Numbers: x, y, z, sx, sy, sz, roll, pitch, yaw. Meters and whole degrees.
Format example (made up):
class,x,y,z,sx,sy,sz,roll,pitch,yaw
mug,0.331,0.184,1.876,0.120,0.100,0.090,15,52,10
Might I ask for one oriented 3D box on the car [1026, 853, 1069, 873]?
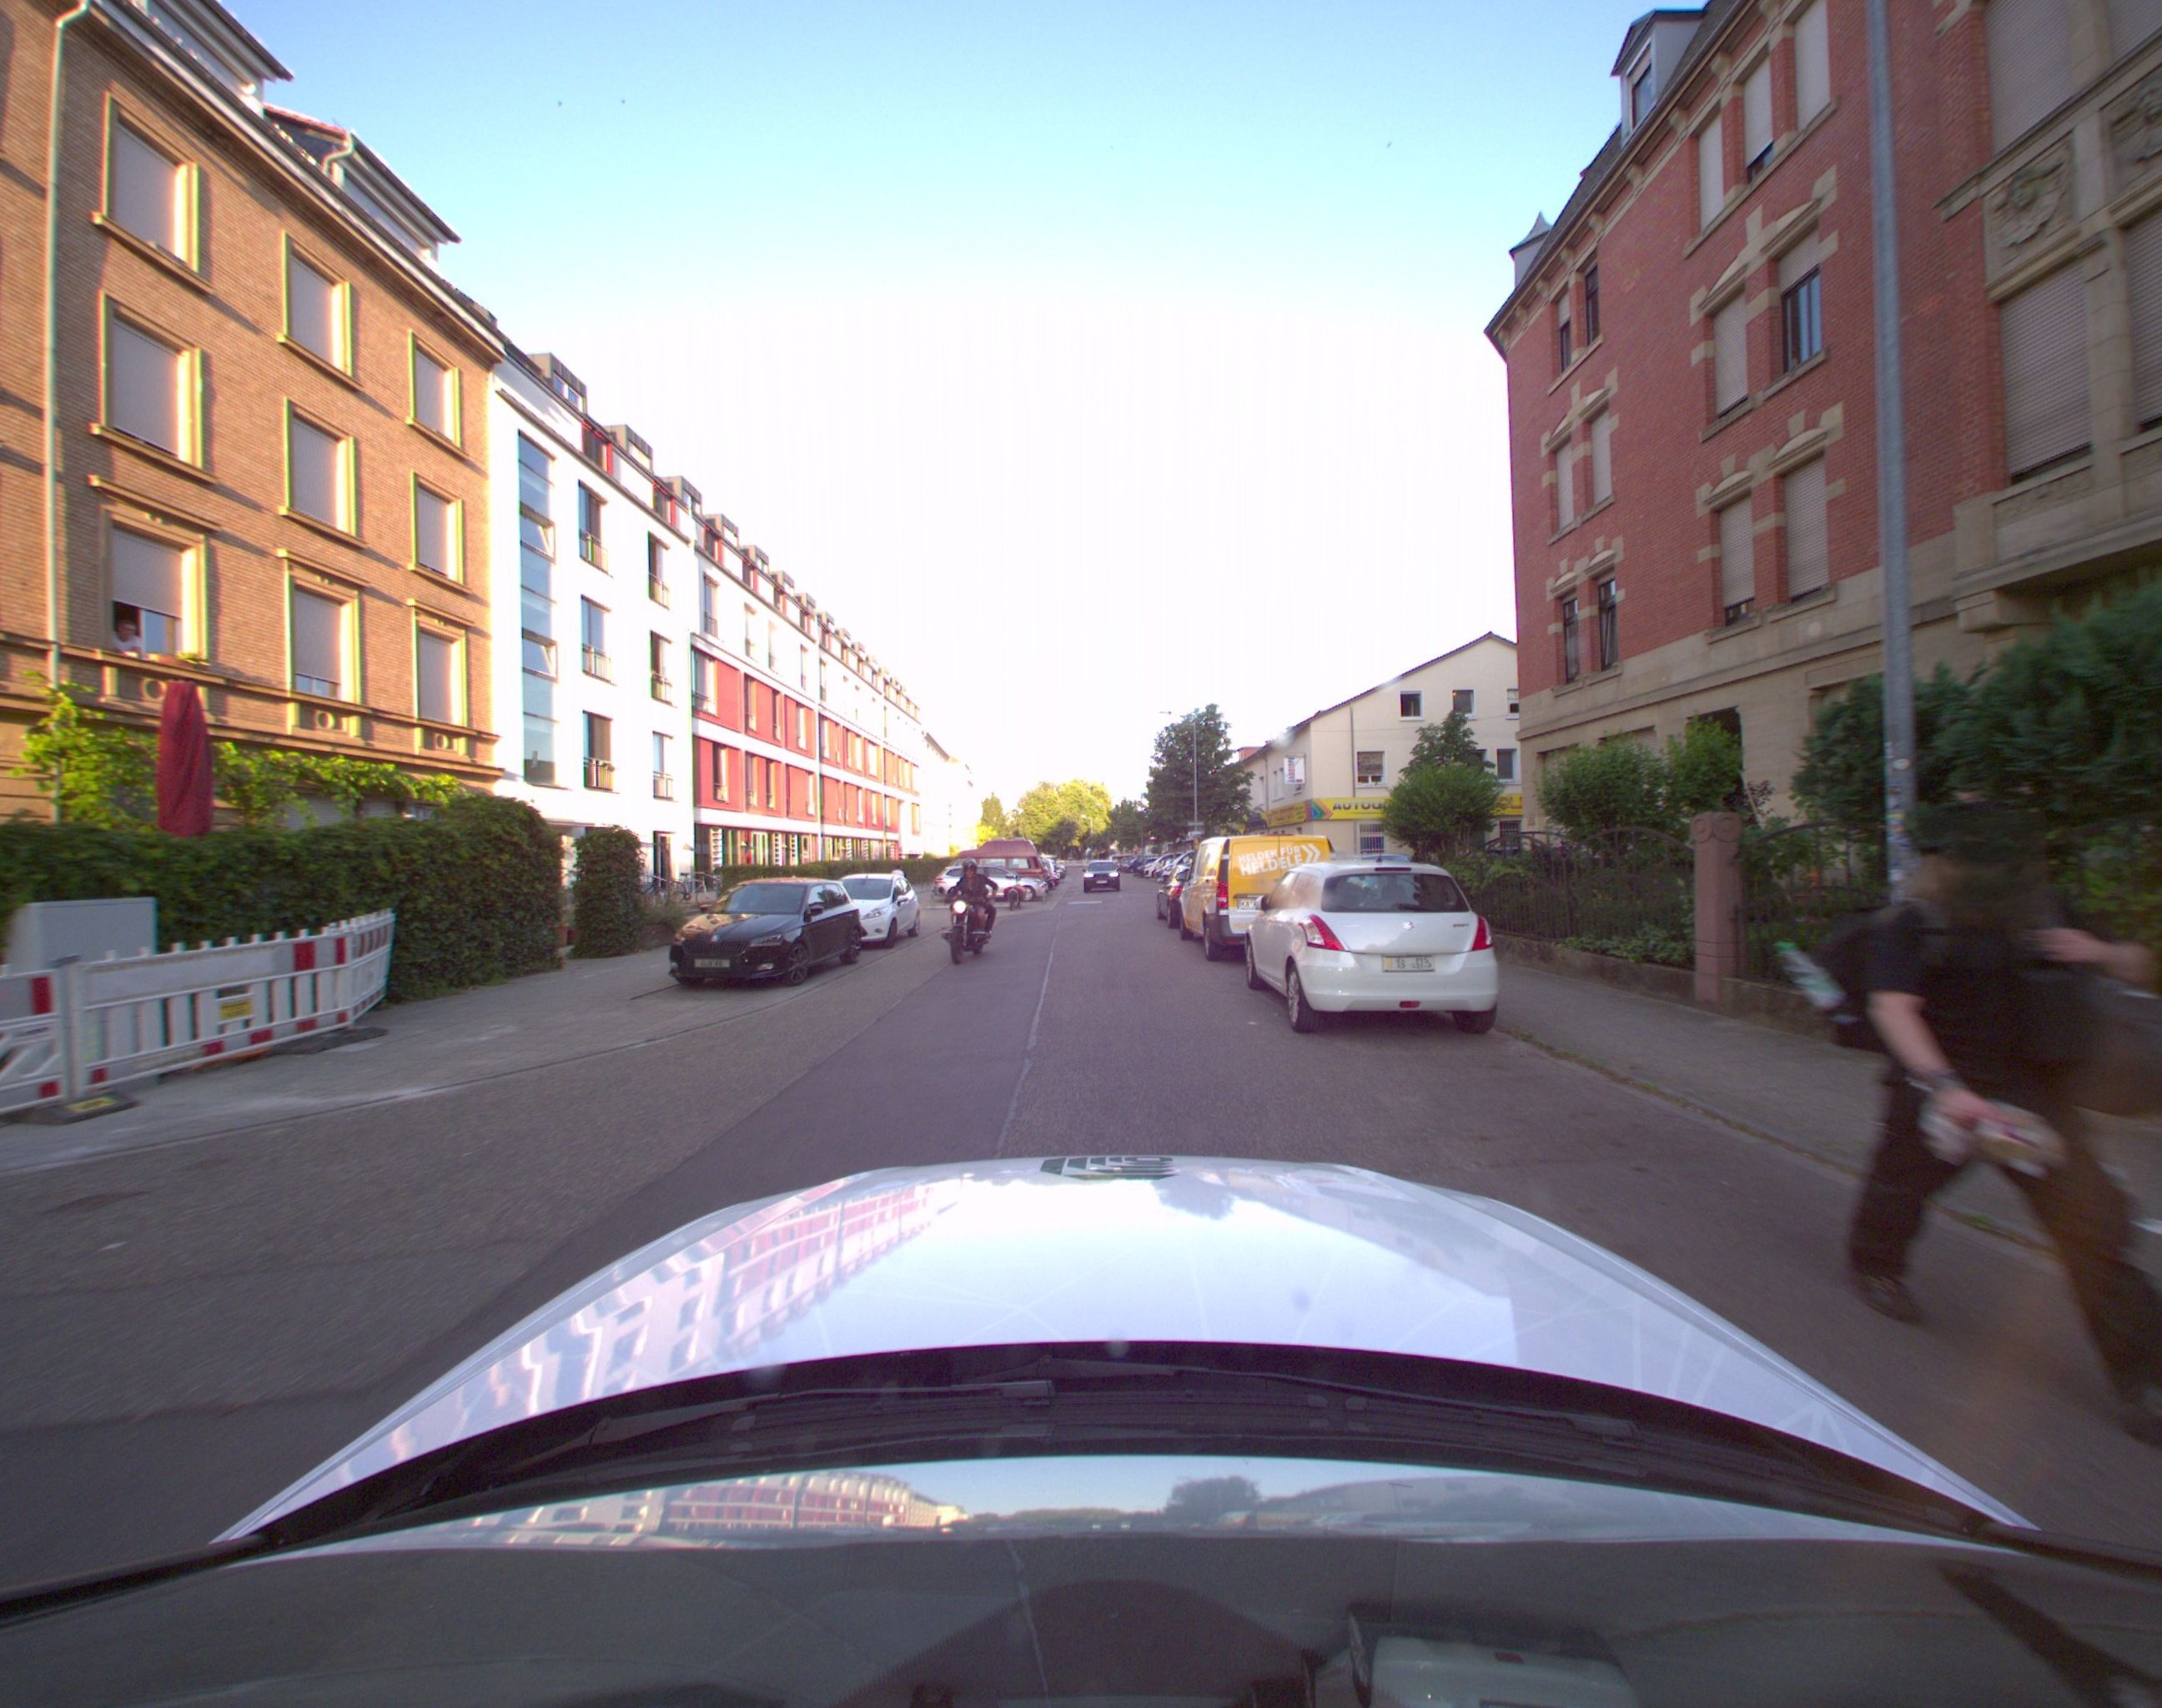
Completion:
class,x,y,z,sx,sy,sz,roll,pitch,yaw
car,-3.593,0.983,88.608,4.518,2.134,2.000,0,-1,0

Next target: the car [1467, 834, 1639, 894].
class,x,y,z,sx,sy,sz,roll,pitch,yaw
car,14.826,0.330,25.720,4.306,1.672,1.877,-2,-2,-2

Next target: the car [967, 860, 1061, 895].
class,x,y,z,sx,sy,sz,roll,pitch,yaw
car,-3.029,1.079,37.679,4.197,1.538,1.790,0,-1,-1

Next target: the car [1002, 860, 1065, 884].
class,x,y,z,sx,sy,sz,roll,pitch,yaw
car,-3.314,1.233,57.539,4.242,1.652,1.888,0,-1,0

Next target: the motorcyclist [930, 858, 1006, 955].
class,x,y,z,sx,sy,sz,roll,pitch,yaw
motorcyclist,-1.871,0.851,13.613,0.884,1.505,0.972,-5,-1,10

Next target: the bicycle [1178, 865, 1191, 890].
class,x,y,z,sx,sy,sz,roll,pitch,yaw
bicycle,5.264,1.201,41.647,0.384,1.200,2.018,-3,0,1

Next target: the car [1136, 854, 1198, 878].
class,x,y,z,sx,sy,sz,roll,pitch,yaw
car,7.185,0.988,68.690,4.930,1.689,2.076,-4,-1,-1

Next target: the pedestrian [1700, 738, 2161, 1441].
class,x,y,z,sx,sy,sz,roll,pitch,yaw
pedestrian,2.677,0.578,2.481,0.884,1.722,0.961,0,-1,7

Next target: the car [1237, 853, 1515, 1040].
class,x,y,z,sx,sy,sz,roll,pitch,yaw
car,2.732,0.759,8.470,1.667,1.477,3.865,-1,0,3

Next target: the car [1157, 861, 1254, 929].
class,x,y,z,sx,sy,sz,roll,pitch,yaw
car,2.833,0.889,19.404,1.715,1.424,4.253,0,0,1

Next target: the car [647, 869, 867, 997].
class,x,y,z,sx,sy,sz,roll,pitch,yaw
car,-4.631,1.040,12.281,1.697,1.534,3.844,-1,0,1

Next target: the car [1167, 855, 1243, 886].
class,x,y,z,sx,sy,sz,roll,pitch,yaw
car,6.925,0.900,45.795,3.908,1.451,1.767,-4,0,-2

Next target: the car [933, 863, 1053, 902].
class,x,y,z,sx,sy,sz,roll,pitch,yaw
car,-3.443,1.117,32.535,4.605,1.460,1.879,0,-1,-3

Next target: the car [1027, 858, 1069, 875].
class,x,y,z,sx,sy,sz,roll,pitch,yaw
car,-3.481,1.297,85.966,4.242,1.749,2.000,0,-1,0

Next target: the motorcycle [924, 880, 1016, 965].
class,x,y,z,sx,sy,sz,roll,pitch,yaw
motorcycle,-1.828,1.112,13.775,0.841,1.209,2.080,-5,-1,10

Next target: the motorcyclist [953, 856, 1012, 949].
class,x,y,z,sx,sy,sz,roll,pitch,yaw
motorcyclist,-1.719,0.837,14.289,0.782,1.540,0.547,-5,-1,10

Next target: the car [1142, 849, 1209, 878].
class,x,y,z,sx,sy,sz,roll,pitch,yaw
car,7.364,0.753,63.856,4.930,1.958,2.048,-4,-1,-1

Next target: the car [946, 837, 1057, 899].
class,x,y,z,sx,sy,sz,roll,pitch,yaw
car,-3.382,0.608,35.118,4.494,2.584,2.001,0,-1,2

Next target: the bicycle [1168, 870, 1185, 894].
class,x,y,z,sx,sy,sz,roll,pitch,yaw
bicycle,4.855,1.418,41.461,0.437,1.130,2.014,-3,0,-4

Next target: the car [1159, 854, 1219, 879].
class,x,y,z,sx,sy,sz,roll,pitch,yaw
car,7.504,0.865,56.726,3.897,1.526,1.939,-4,-1,1

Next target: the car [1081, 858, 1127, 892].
class,x,y,z,sx,sy,sz,roll,pitch,yaw
car,1.200,1.016,40.749,1.769,1.517,4.009,-3,-1,8

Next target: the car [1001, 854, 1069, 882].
class,x,y,z,sx,sy,sz,roll,pitch,yaw
car,-3.353,1.026,60.097,4.834,2.021,1.906,0,-1,0

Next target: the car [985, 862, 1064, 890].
class,x,y,z,sx,sy,sz,roll,pitch,yaw
car,-3.087,1.226,45.287,4.194,1.490,1.850,0,-1,1

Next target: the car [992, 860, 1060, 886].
class,x,y,z,sx,sy,sz,roll,pitch,yaw
car,-3.562,1.227,53.185,4.242,1.660,2.000,0,-1,0

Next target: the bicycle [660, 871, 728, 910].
class,x,y,z,sx,sy,sz,roll,pitch,yaw
bicycle,-11.605,1.088,24.441,1.768,1.148,0.611,0,-1,3

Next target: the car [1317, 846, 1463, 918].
class,x,y,z,sx,sy,sz,roll,pitch,yaw
car,7.153,0.612,19.389,1.721,1.424,4.422,-3,0,0

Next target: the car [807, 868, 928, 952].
class,x,y,z,sx,sy,sz,roll,pitch,yaw
car,-4.476,1.105,17.651,1.646,1.530,4.014,-1,0,-2

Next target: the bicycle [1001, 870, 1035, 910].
class,x,y,z,sx,sy,sz,roll,pitch,yaw
bicycle,-2.081,1.184,27.226,0.804,1.221,2.867,0,0,2

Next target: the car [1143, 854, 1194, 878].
class,x,y,z,sx,sy,sz,roll,pitch,yaw
car,7.886,1.083,73.590,4.304,1.804,1.810,-4,-1,-1

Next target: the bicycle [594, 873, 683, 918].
class,x,y,z,sx,sy,sz,roll,pitch,yaw
bicycle,-11.777,1.097,21.705,1.908,1.142,0.812,0,-1,1

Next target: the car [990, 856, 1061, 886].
class,x,y,z,sx,sy,sz,roll,pitch,yaw
car,-3.418,1.052,50.713,4.242,1.836,2.000,0,-1,0

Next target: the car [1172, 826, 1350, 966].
class,x,y,z,sx,sy,sz,roll,pitch,yaw
car,2.765,0.593,13.741,1.887,1.884,5.081,-1,0,0

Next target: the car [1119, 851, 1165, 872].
class,x,y,z,sx,sy,sz,roll,pitch,yaw
car,6.440,0.818,86.168,4.471,1.911,1.685,-4,-1,-4

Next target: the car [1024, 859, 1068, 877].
class,x,y,z,sx,sy,sz,roll,pitch,yaw
car,-3.497,1.393,81.193,4.242,1.715,2.000,0,-1,0

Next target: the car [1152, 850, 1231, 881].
class,x,y,z,sx,sy,sz,roll,pitch,yaw
car,7.245,0.752,53.928,4.926,1.742,2.050,-4,-1,1

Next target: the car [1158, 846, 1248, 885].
class,x,y,z,sx,sy,sz,roll,pitch,yaw
car,7.233,0.690,48.582,4.972,1.983,2.220,-4,-1,1

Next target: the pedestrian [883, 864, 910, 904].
class,x,y,z,sx,sy,sz,roll,pitch,yaw
pedestrian,-6.991,1.136,30.934,0.829,1.501,0.798,0,-1,1

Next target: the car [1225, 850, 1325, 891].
class,x,y,z,sx,sy,sz,roll,pitch,yaw
car,8.600,0.723,36.353,4.035,1.514,1.757,-3,1,1

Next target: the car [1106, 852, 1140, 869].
class,x,y,z,sx,sy,sz,roll,pitch,yaw
car,5.202,0.828,101.787,3.961,1.911,2.046,-4,-1,-4
